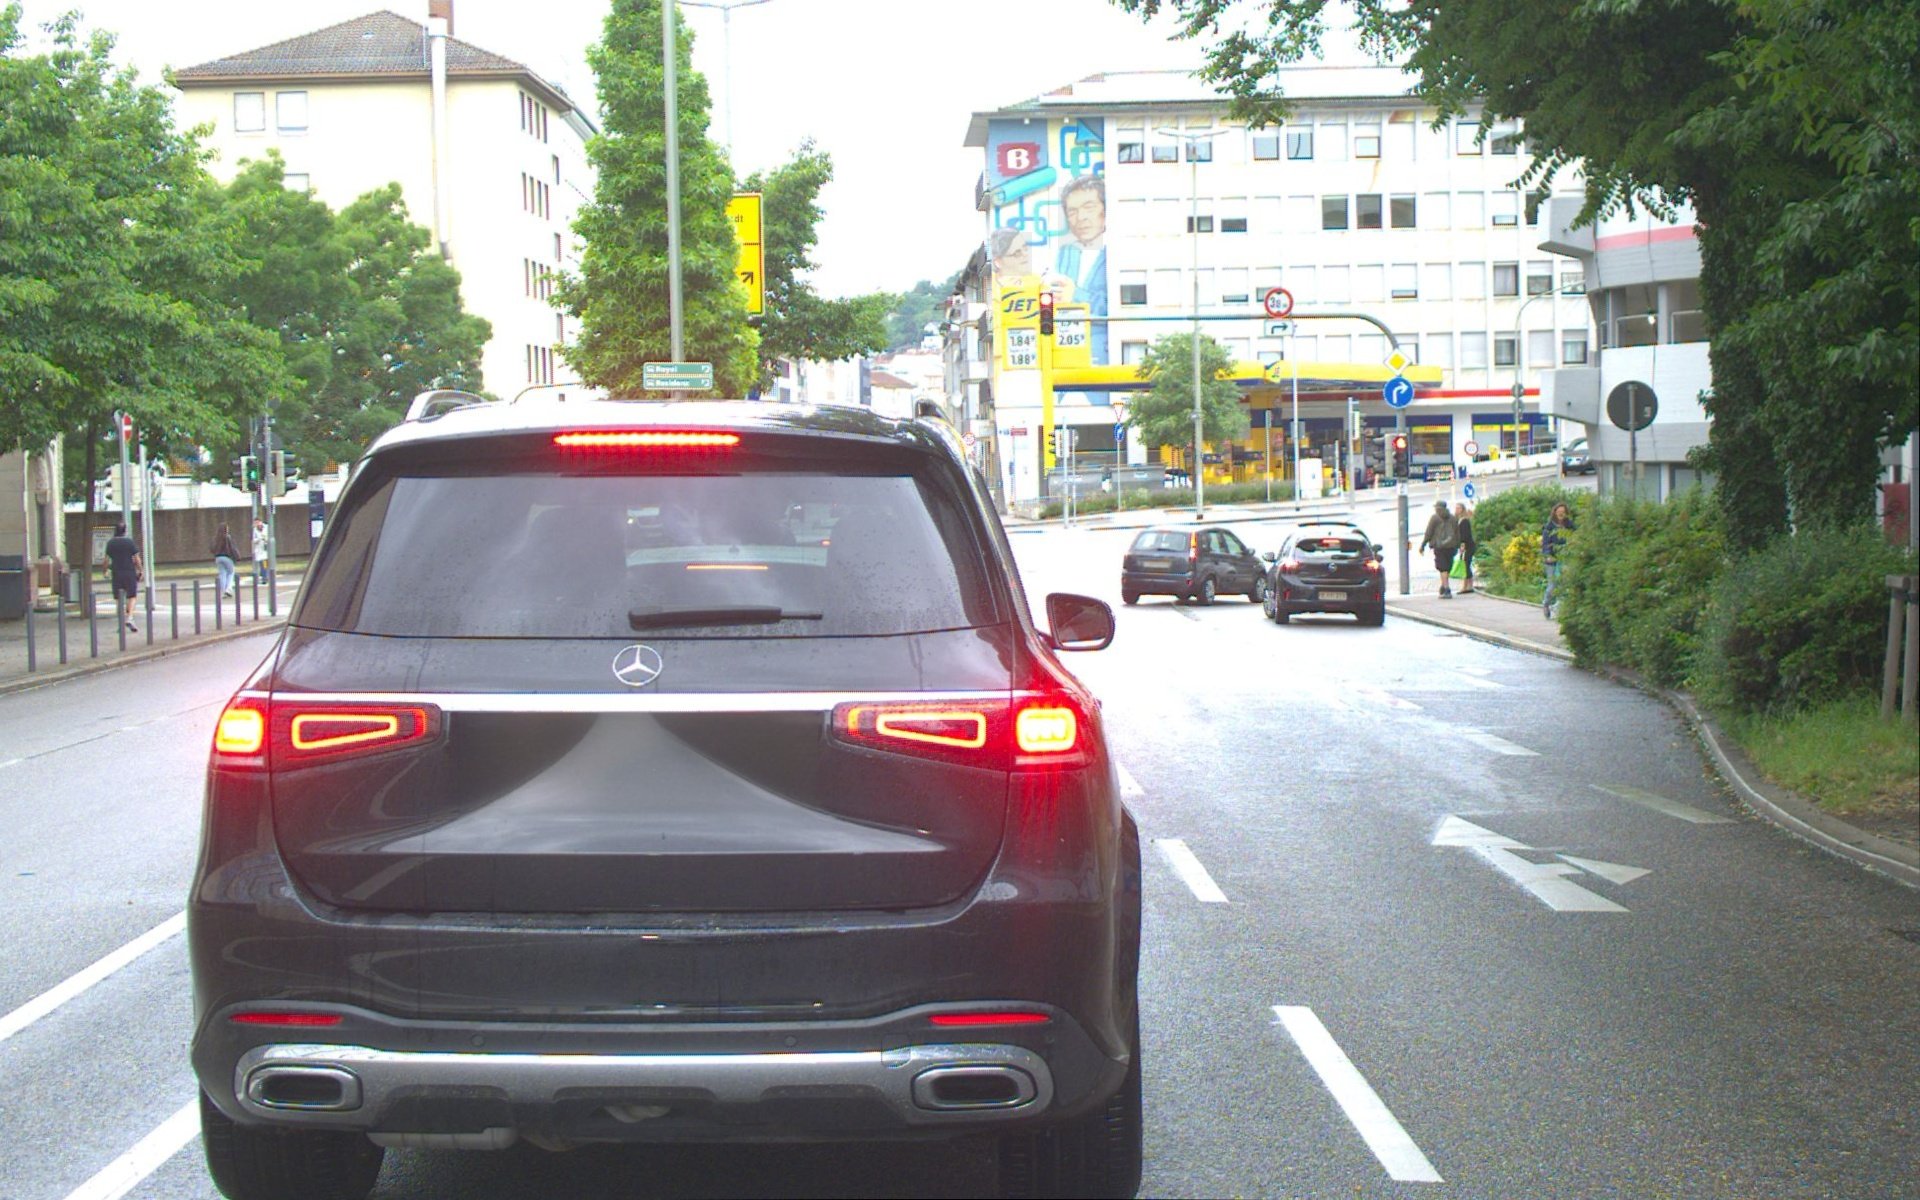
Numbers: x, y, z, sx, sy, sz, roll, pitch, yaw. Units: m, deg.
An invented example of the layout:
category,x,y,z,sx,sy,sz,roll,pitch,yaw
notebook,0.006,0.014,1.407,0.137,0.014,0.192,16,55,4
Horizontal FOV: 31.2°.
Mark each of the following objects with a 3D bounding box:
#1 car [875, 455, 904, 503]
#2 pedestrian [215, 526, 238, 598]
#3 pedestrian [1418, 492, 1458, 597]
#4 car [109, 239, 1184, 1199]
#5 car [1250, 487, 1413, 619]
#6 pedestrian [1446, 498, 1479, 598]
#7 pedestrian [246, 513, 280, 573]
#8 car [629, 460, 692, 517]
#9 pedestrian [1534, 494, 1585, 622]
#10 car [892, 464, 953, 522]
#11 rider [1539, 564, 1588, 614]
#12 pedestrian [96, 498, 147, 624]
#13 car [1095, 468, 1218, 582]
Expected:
category,x,y,z,sx,sy,sz,roll,pitch,yaw
car,-5.040,-8.638,245.367,1.993,2.003,4.008,1,24,-2
pedestrian,-16.685,-0.860,78.196,0.399,1.639,0.567,1,0,-1
pedestrian,8.854,-1.021,63.693,0.620,1.929,0.610,1,0,1
car,-0.657,0.324,8.479,1.993,2.007,4.000,1,0,-2
car,5.845,-0.766,54.534,1.993,2.007,4.001,0,1,-2
pedestrian,9.564,-0.989,65.469,0.519,1.904,0.556,1,0,-1
pedestrian,-17.134,-1.388,84.516,0.711,1.457,0.598,1,0,-2
car,-10.558,-3.917,121.488,1.993,1.868,5.142,1,0,-2
pedestrian,9.081,-0.637,52.099,0.662,1.911,0.728,1,0,4
car,-1.379,-3.880,125.254,1.993,2.007,4.001,1,0,-3
rider,9.057,-0.171,51.611,0.694,0.737,0.632,1,0,7
pedestrian,-13.700,-0.643,56.190,0.587,2.006,0.749,3,2,-3
car,3.587,-1.355,63.335,1.993,2.007,4.000,1,0,0
